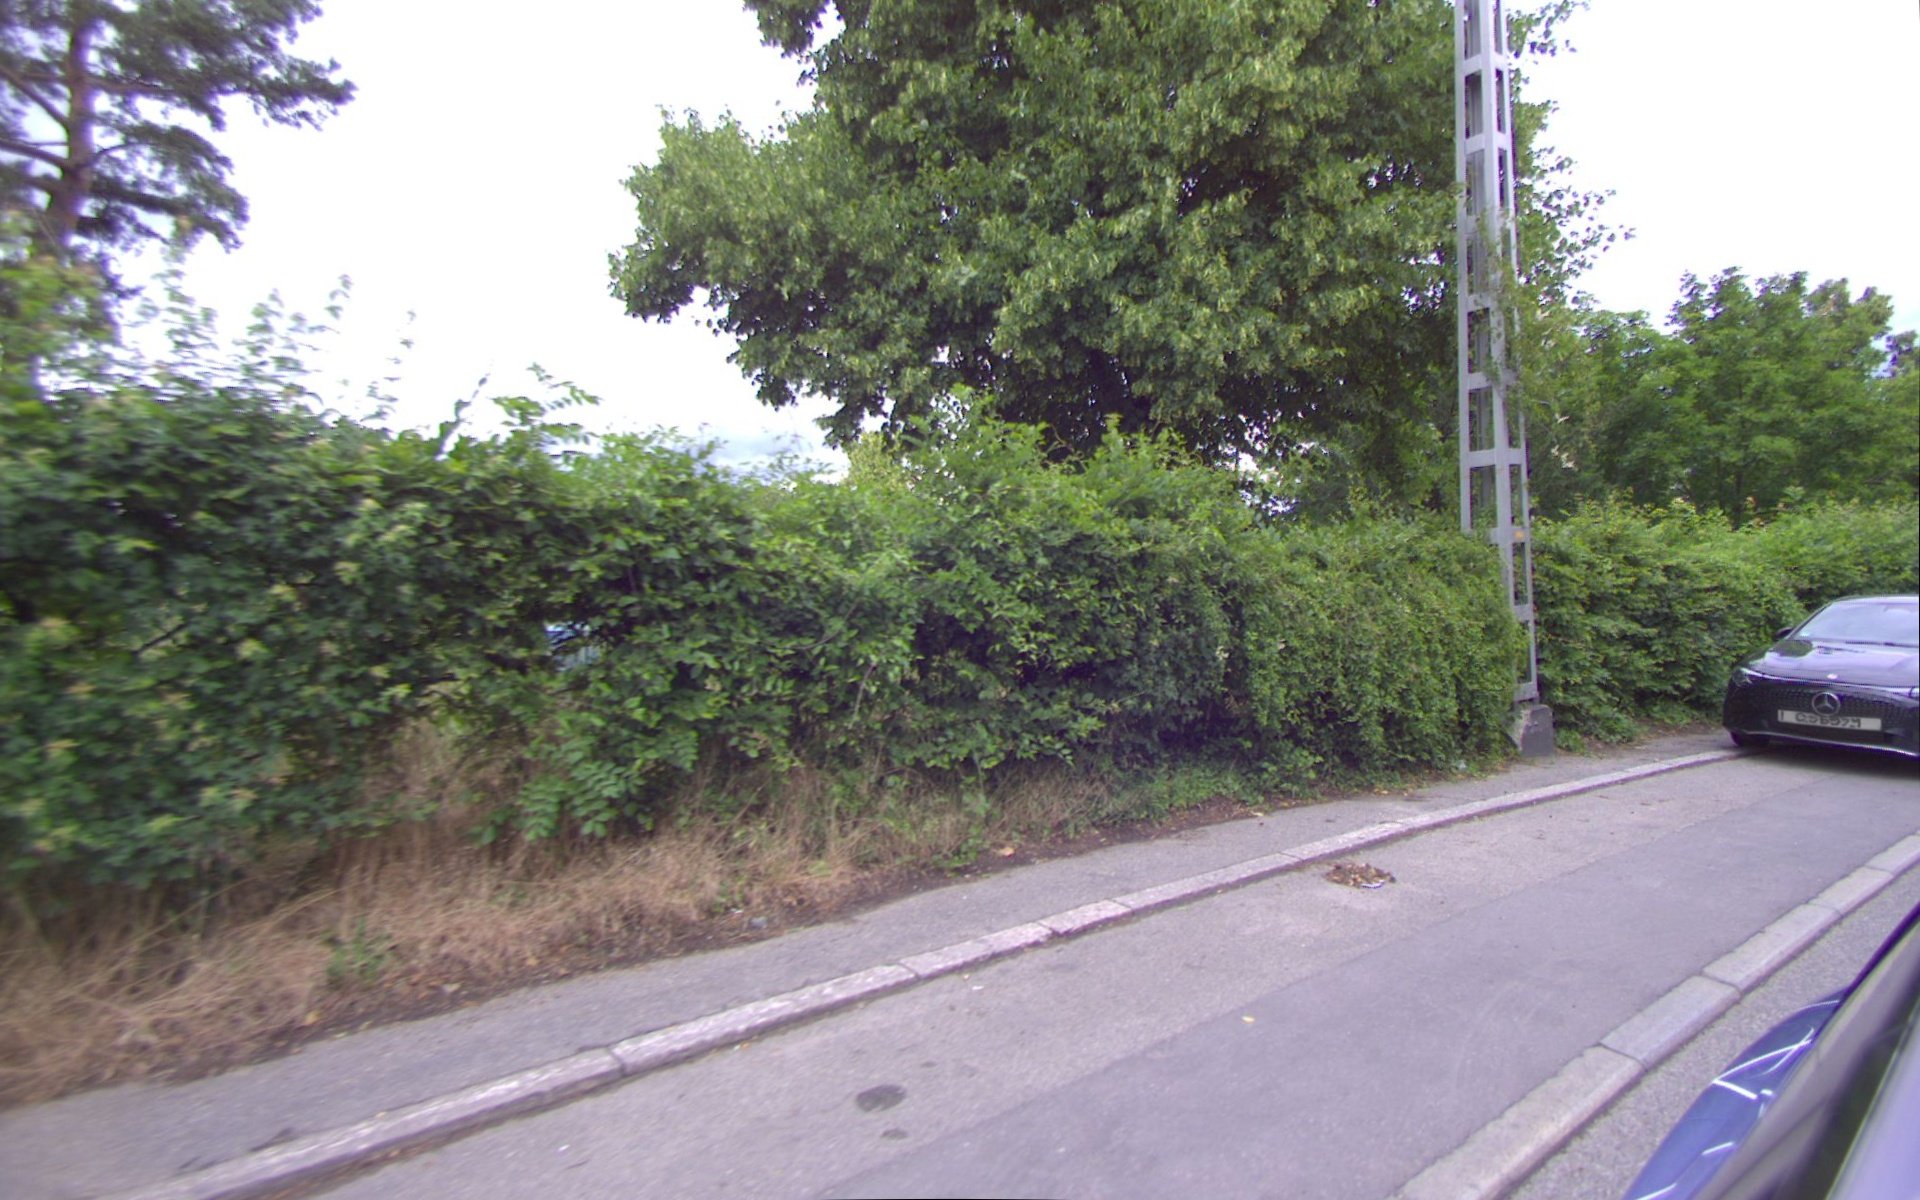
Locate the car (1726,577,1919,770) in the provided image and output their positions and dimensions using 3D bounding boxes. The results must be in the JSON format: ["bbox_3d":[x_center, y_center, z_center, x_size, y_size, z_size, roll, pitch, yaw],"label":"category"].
[{"bbox_3d":[9.122,0.571,9.414,4.573,1.482,1.707,0,1,-33],"label":"car"}]

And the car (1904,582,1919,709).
[{"bbox_3d":[13.267,0.563,12.189,3.758,1.482,1.708,0,2,-30],"label":"car"}]
